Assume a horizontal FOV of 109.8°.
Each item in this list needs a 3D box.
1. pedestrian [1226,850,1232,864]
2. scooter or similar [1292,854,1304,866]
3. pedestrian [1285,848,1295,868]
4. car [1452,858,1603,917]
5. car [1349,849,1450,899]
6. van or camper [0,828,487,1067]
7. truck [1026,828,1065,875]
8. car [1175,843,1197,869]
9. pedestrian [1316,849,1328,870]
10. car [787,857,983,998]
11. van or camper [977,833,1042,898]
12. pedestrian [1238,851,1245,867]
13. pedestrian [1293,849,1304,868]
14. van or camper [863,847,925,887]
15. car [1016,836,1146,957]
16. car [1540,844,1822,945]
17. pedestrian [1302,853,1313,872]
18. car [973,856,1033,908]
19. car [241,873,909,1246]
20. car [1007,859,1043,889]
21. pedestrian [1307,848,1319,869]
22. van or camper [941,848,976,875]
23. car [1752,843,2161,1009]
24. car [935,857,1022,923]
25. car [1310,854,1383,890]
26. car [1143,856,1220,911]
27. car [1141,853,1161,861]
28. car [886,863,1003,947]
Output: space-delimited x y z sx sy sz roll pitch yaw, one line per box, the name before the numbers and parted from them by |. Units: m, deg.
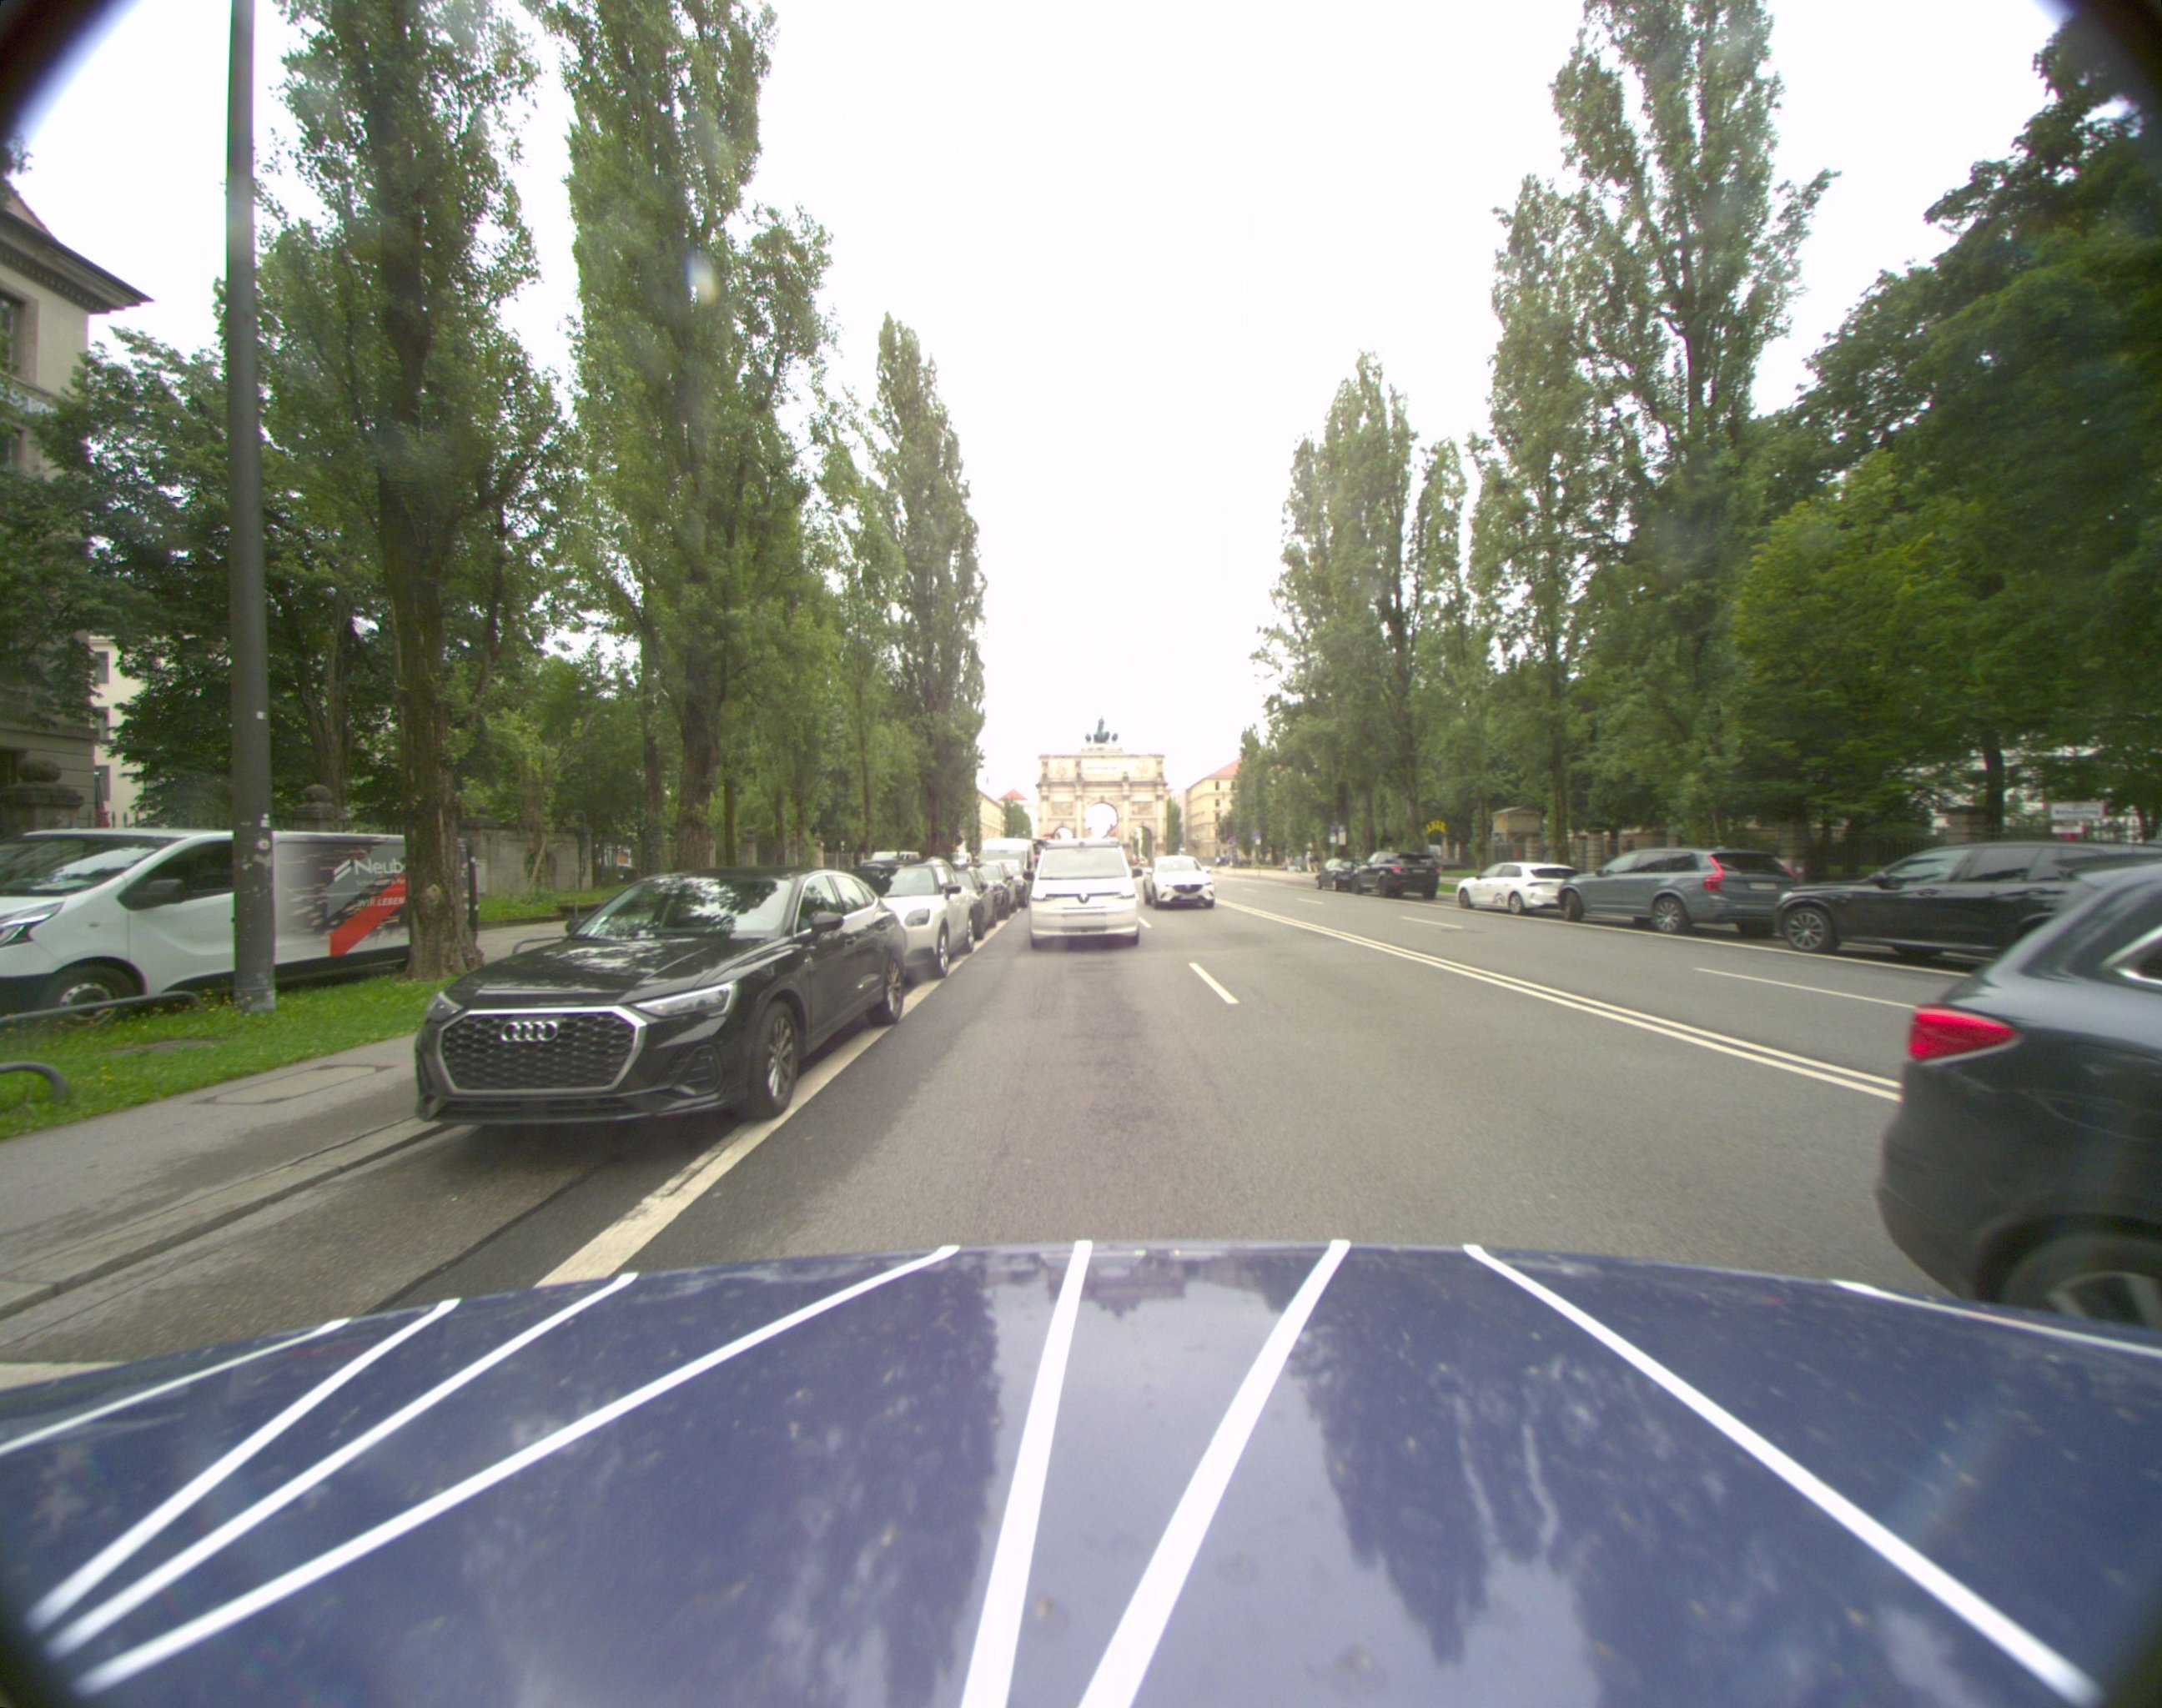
pedestrian | 17.626 0.377 90.420 0.533 1.720 0.583 -1 0 -11
scooter or similar | 21.624 0.635 75.725 0.747 1.171 1.415 1 0 -5
pedestrian | 18.274 0.316 66.543 0.631 1.737 0.908 -1 0 -1
car | 12.402 0.868 21.482 1.708 1.450 4.272 1 0 0
car | 12.426 0.712 30.017 2.051 1.776 4.800 1 0 2
van or camper | -9.724 0.788 8.352 2.081 1.922 5.368 -2 0 1
truck | -2.822 -0.200 63.047 2.852 3.543 10.278 -2 0 -1
car | 12.129 0.210 88.068 1.797 1.333 4.452 1 22 -2
pedestrian | 20.433 0.430 64.433 0.711 1.762 1.093 -1 1 -1
car | -2.650 0.895 11.422 1.747 1.665 4.579 -1 0 0
van or camper | -2.985 0.448 33.132 2.144 2.525 6.417 -1 0 0
pedestrian | 18.097 0.544 85.648 0.533 1.720 0.583 -1 0 -11
pedestrian | 19.074 0.374 66.647 0.689 1.690 0.885 -1 0 -1
van or camper | -9.808 0.646 40.242 1.980 1.922 5.038 -2 0 0
car | 0.039 0.687 15.222 2.064 1.916 5.728 -2 0 1
car | 12.493 0.731 16.421 1.914 1.779 5.179 2 0 0
pedestrian | 19.811 0.753 66.589 0.661 1.706 0.911 -1 0 -1
car | -2.633 0.905 26.495 1.789 1.639 4.417 -1 0 -2
car | -2.747 0.972 5.600 1.885 1.531 4.464 -1 0 1
car | -2.893 1.001 39.833 1.680 1.412 3.999 -1 0 -1
pedestrian | 19.656 0.378 64.394 0.711 1.823 1.093 -1 1 -1
van or camper | -9.577 0.567 59.729 2.009 2.002 4.985 -2 0 -1
car | 12.338 0.782 10.342 1.946 1.757 4.895 2 0 -1
car | -2.736 0.903 21.251 1.788 1.608 4.637 -1 0 0
car | 12.570 0.806 36.305 1.949 1.574 4.388 1 0 0
car | 2.983 0.834 23.337 1.910 1.516 4.009 -1 0 1
car | 14.539 0.625 158.160 2.004 1.739 3.989 -1 0 -40
car | -2.774 0.983 16.355 1.707 1.511 4.295 -1 0 0
